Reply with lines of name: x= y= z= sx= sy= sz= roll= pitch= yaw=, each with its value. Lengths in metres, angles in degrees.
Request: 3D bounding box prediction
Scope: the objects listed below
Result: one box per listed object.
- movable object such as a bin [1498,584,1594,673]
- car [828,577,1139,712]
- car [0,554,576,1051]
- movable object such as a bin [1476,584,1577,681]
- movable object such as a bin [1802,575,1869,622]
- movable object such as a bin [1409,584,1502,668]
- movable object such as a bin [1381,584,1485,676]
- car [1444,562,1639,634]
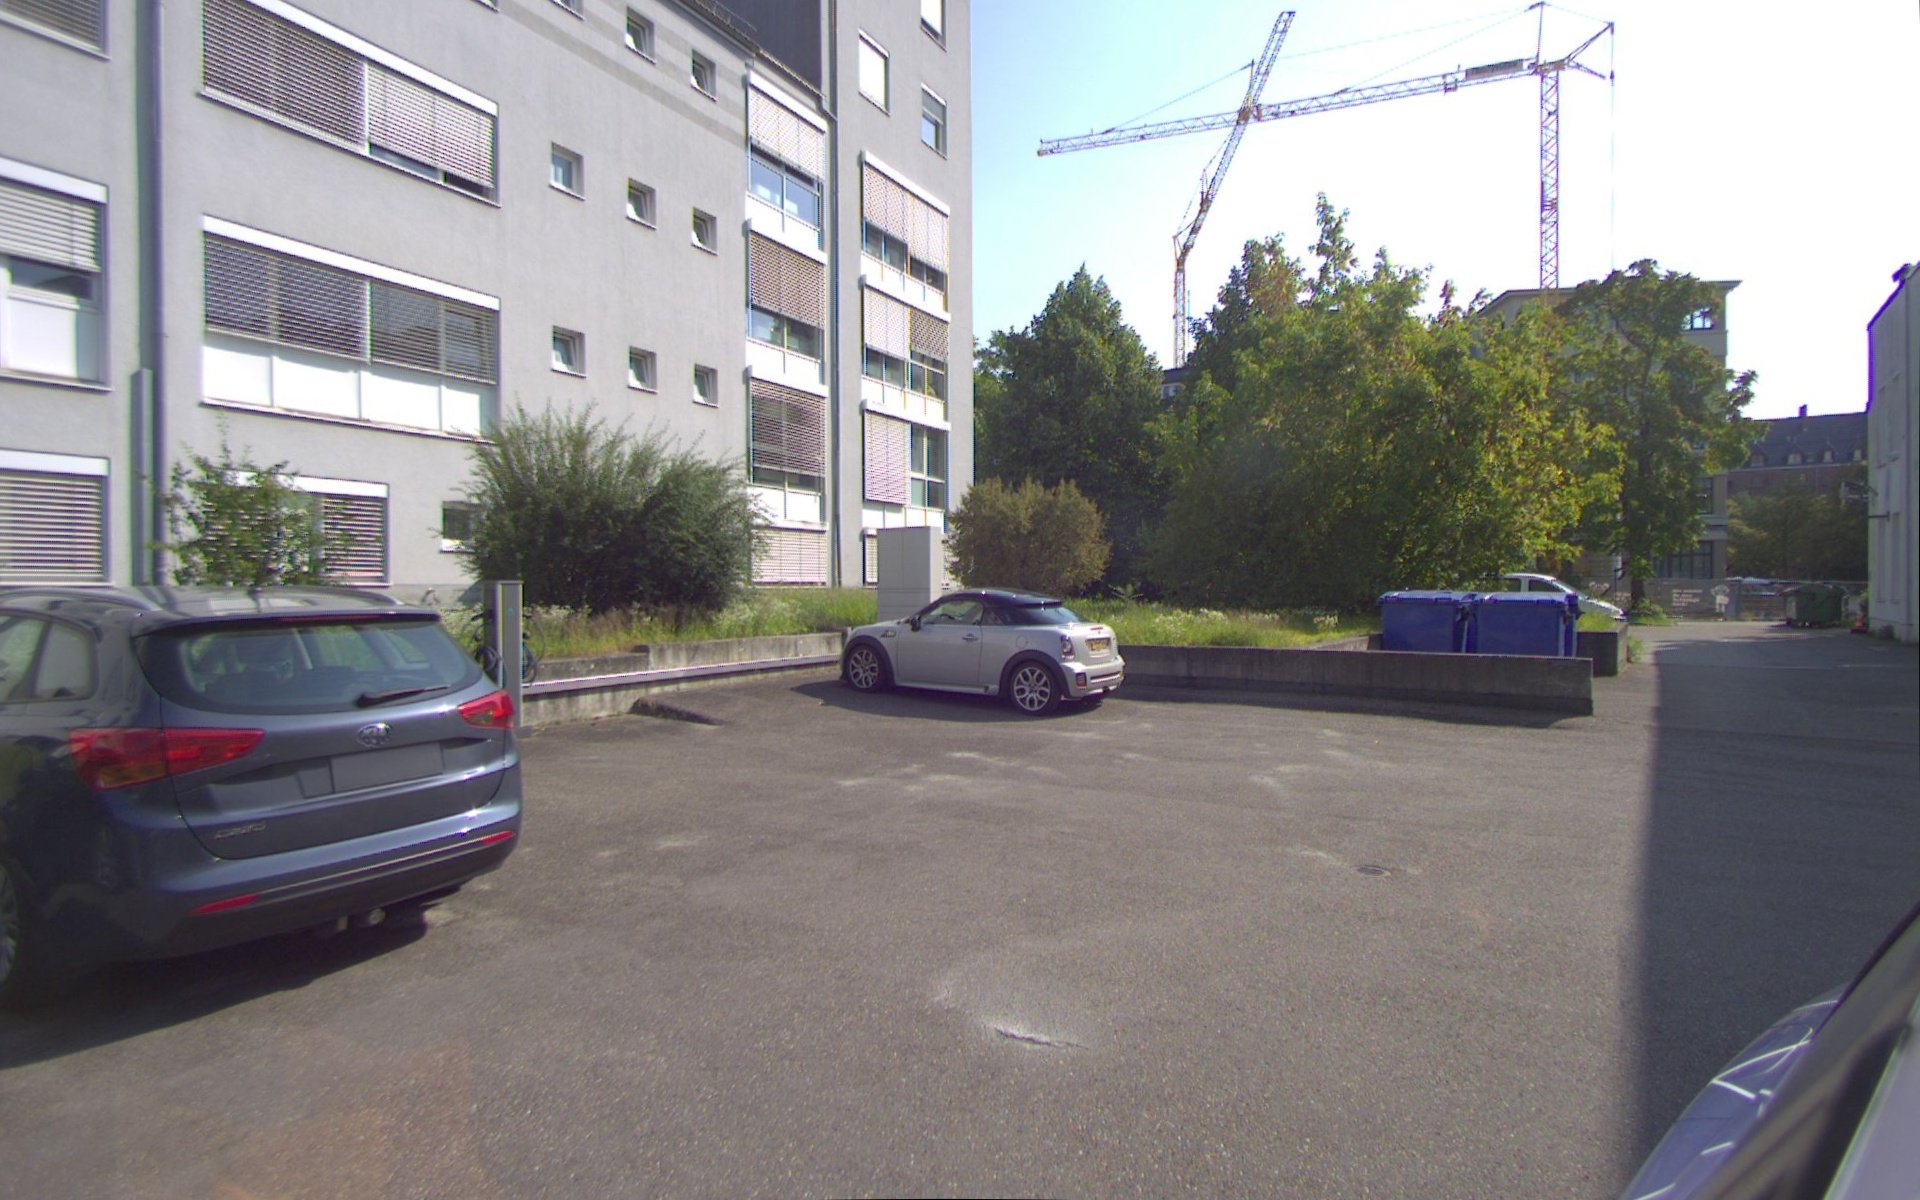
movable object such as a bin: x=9.434 y=0.426 z=16.281 sx=1.193 sy=1.344 sz=1.258 roll=0 pitch=0 yaw=37
car: x=0.248 y=0.457 z=12.558 sx=3.556 sy=1.455 sz=1.639 roll=0 pitch=0 yaw=33
car: x=-3.871 y=0.589 z=4.849 sx=4.027 sy=1.496 sz=1.723 roll=0 pitch=0 yaw=31
movable object such as a bin: x=8.435 y=0.449 z=15.063 sx=1.206 sy=1.368 sz=1.259 roll=0 pitch=0 yaw=34
movable object such as a bin: x=28.320 y=-0.061 z=32.784 sx=1.516 sy=1.484 sz=1.258 roll=0 pitch=0 yaw=36
movable object such as a bin: x=8.374 y=0.414 z=17.090 sx=1.193 sy=1.344 sz=1.258 roll=0 pitch=0 yaw=37
movable object such as a bin: x=7.408 y=0.436 z=15.838 sx=1.250 sy=1.344 sz=1.258 roll=0 pitch=0 yaw=37
car: x=16.955 y=-0.072 z=29.633 sx=4.769 sy=1.956 sz=1.882 roll=0 pitch=1 yaw=39
